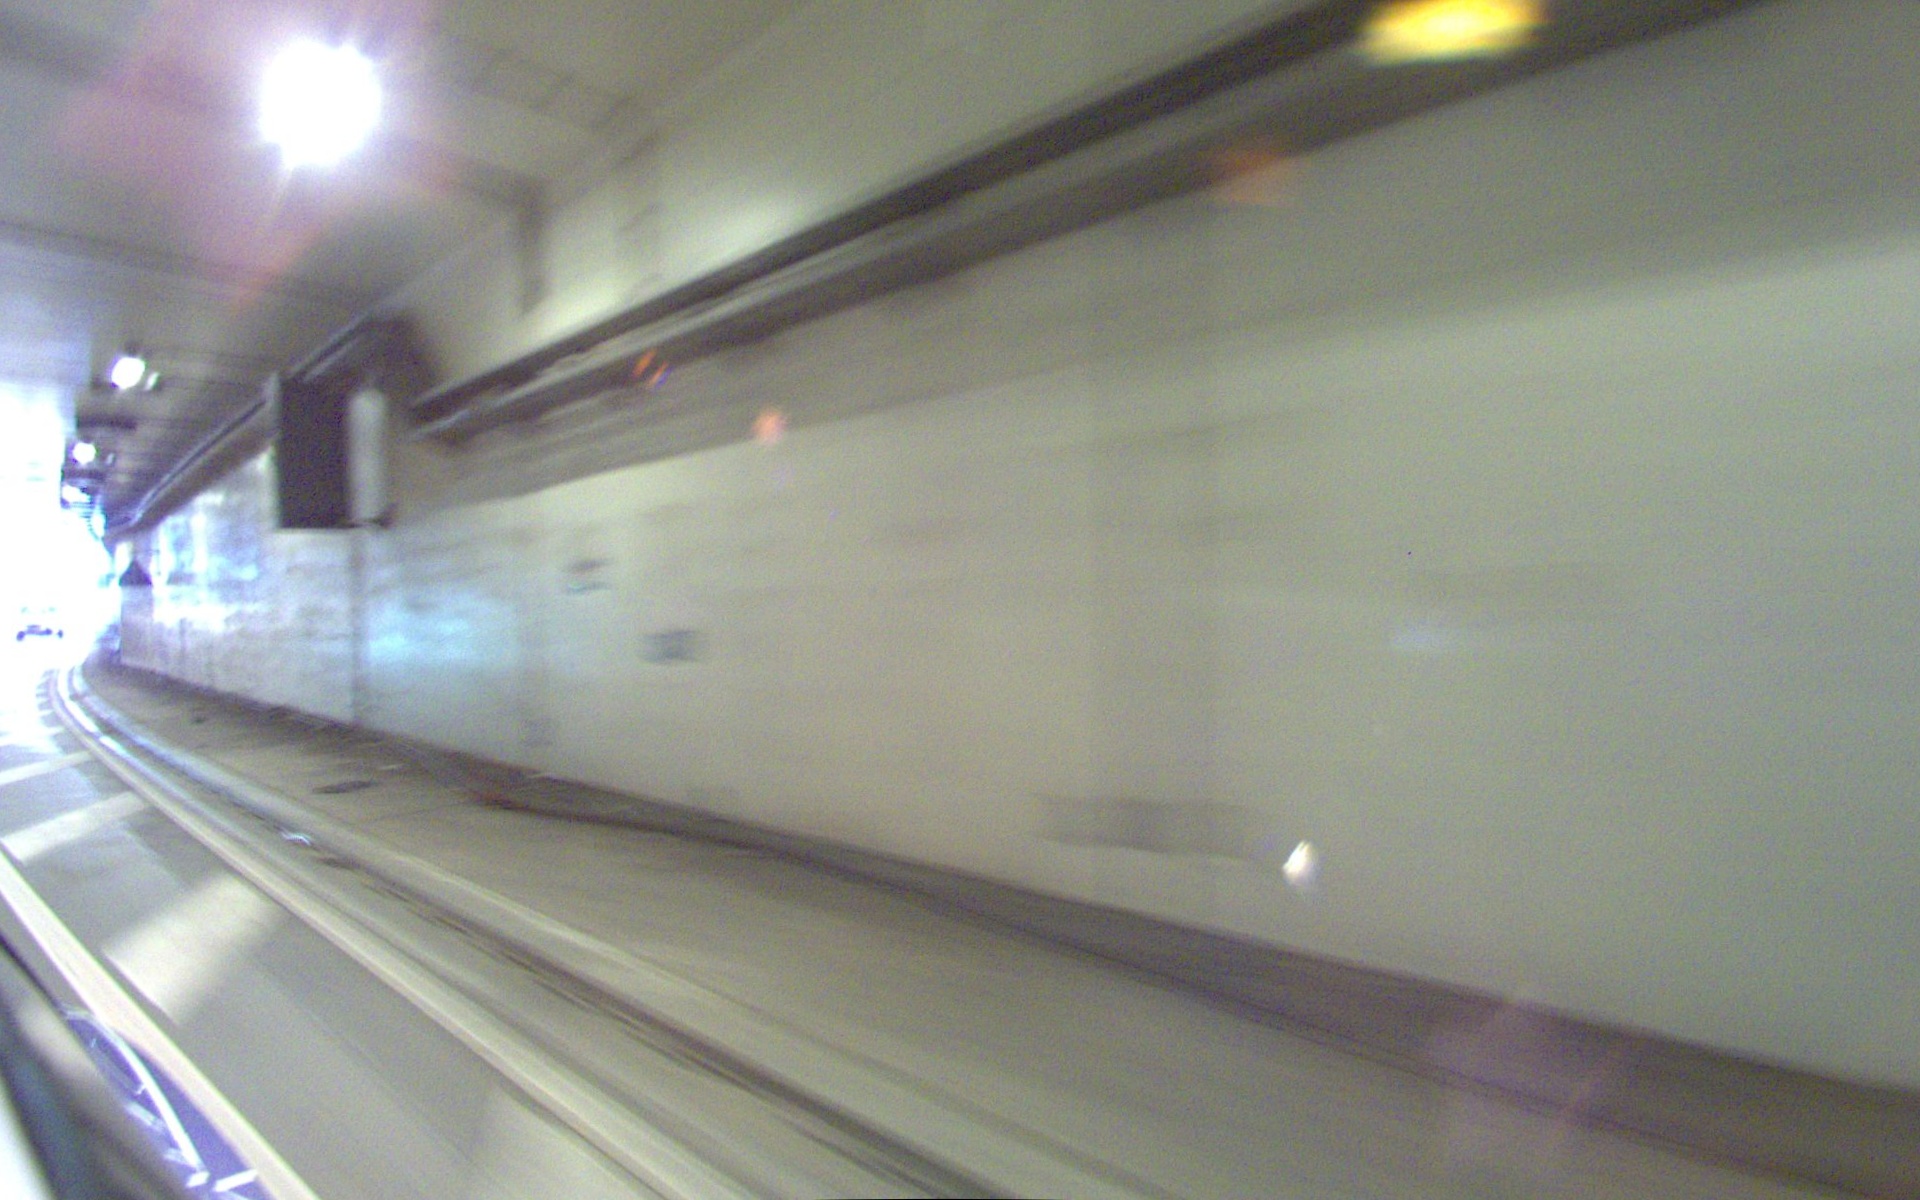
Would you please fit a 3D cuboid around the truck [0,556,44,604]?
[{"bbox_3d":[-97.106,-2.162,104.236,2.842,4.504,10.479,-4,5,-37],"label":"truck"}]

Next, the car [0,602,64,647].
[{"bbox_3d":[-46.619,1.185,50.901,1.906,1.943,4.206,-4,3,-37],"label":"car"}]

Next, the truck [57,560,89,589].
[{"bbox_3d":[-112.760,-3.289,128.707,2.456,3.412,6.391,-4,5,-37],"label":"truck"}]

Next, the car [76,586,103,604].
[{"bbox_3d":[-90.347,-0.505,105.085,1.921,1.544,4.009,-5,6,-38],"label":"car"}]

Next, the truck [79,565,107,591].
[{"bbox_3d":[-103.136,-2.646,120.403,2.106,2.748,5.684,-4,5,-37],"label":"truck"}]

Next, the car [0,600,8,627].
[{"bbox_3d":[-68.177,0.967,71.002,1.614,1.683,3.725,-4,5,-37],"label":"car"}]
